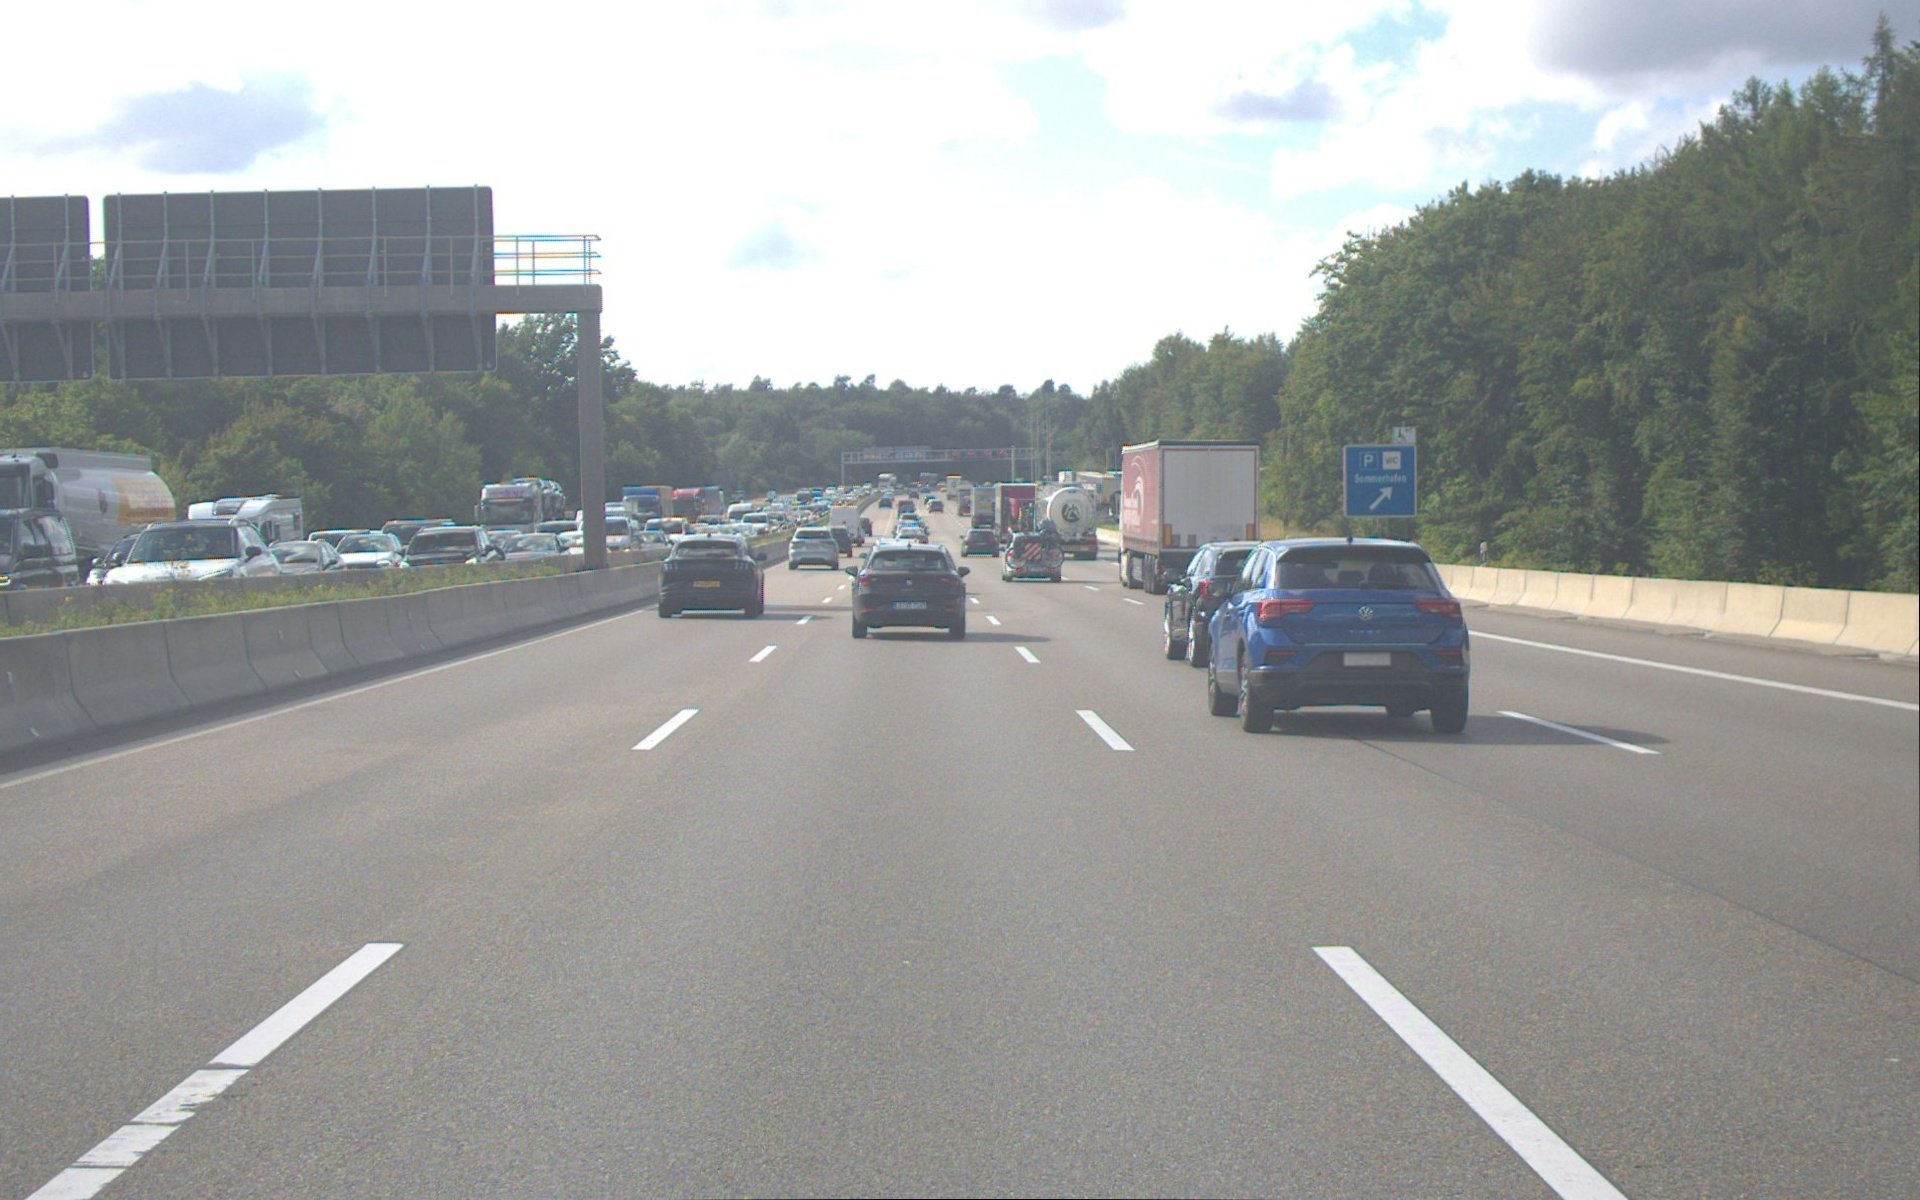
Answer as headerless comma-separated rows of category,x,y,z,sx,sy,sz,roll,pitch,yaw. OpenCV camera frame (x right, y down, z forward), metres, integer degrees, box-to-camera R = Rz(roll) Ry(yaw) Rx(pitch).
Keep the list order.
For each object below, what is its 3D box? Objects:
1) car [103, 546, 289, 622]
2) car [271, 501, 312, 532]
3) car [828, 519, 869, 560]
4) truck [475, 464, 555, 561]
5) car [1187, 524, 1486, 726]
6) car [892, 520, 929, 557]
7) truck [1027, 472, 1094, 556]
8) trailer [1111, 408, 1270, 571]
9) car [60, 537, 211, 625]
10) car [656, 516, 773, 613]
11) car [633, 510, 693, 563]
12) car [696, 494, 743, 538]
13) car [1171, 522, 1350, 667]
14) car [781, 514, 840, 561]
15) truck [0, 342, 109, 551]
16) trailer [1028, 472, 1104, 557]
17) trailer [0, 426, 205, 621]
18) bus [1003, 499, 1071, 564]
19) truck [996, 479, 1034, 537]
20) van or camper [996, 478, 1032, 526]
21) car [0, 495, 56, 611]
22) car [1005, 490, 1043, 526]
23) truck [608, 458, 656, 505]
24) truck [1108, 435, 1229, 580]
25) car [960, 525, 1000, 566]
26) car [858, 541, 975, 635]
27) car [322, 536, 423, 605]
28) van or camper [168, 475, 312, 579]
car,-10.393,-0.239,47.029,1.643,0.936,4.489,1,1,-1
car,-44.572,-5.548,229.393,1.993,2.007,4.000,1,1,-1
car,-5.571,-3.022,172.497,1.993,2.007,4.000,1,0,-1
truck,-20.033,-3.938,154.956,2.853,4.219,5.713,1,1,-1
car,3.031,0.187,28.563,1.924,1.536,4.645,0,0,-1
car,-2.739,-3.383,189.945,1.993,2.007,4.000,-1,0,-1
truck,5.027,-4.350,173.936,3.045,4.146,7.127,0,1,-1
trailer,6.083,-2.823,92.986,3.038,4.021,13.891,1,0,-1
car,-15.072,-0.373,63.053,1.832,1.532,4.243,1,1,-1
car,-4.679,-0.698,66.017,1.993,1.770,4.000,1,1,-1
car,-12.058,-2.566,139.808,1.993,2.093,5.278,1,0,0
car,-11.621,-4.058,166.586,1.993,2.007,4.410,0,0,0
car,3.604,-0.103,41.875,1.799,1.638,4.000,1,1,0
car,-5.863,-2.453,135.420,2.154,1.770,4.000,1,1,-1
truck,-19.175,-2.911,67.429,3.416,3.887,6.802,0,1,-1
trailer,5.122,-4.113,167.906,3.036,4.002,12.246,0,1,-1
trailer,-19.322,-1.669,74.073,3.411,3.815,13.262,1,1,-1
bus,2.434,-2.156,109.453,1.993,2.007,4.000,1,0,-1
truck,3.593,-5.985,225.802,2.358,3.560,11.266,1,0,0
van or camper,3.626,-6.607,232.927,2.351,3.133,5.710,1,0,0
car,-14.597,-0.702,49.482,2.007,1.649,4.783,1,1,-1
car,3.718,-5.376,200.600,1.993,2.007,4.000,1,0,-1
truck,-20.353,-7.343,213.882,2.328,2.792,7.950,2,2,-1
truck,5.995,-2.637,99.812,3.080,4.049,6.070,1,0,0
car,1.038,-2.782,175.112,1.993,2.007,4.000,1,1,0
car,-0.704,-0.210,53.372,1.734,1.360,4.000,1,1,-1
car,-15.154,-0.784,88.942,1.800,1.626,4.663,4,1,-1
van or camper,-19.153,-1.890,91.838,2.325,2.634,7.397,1,0,-1
